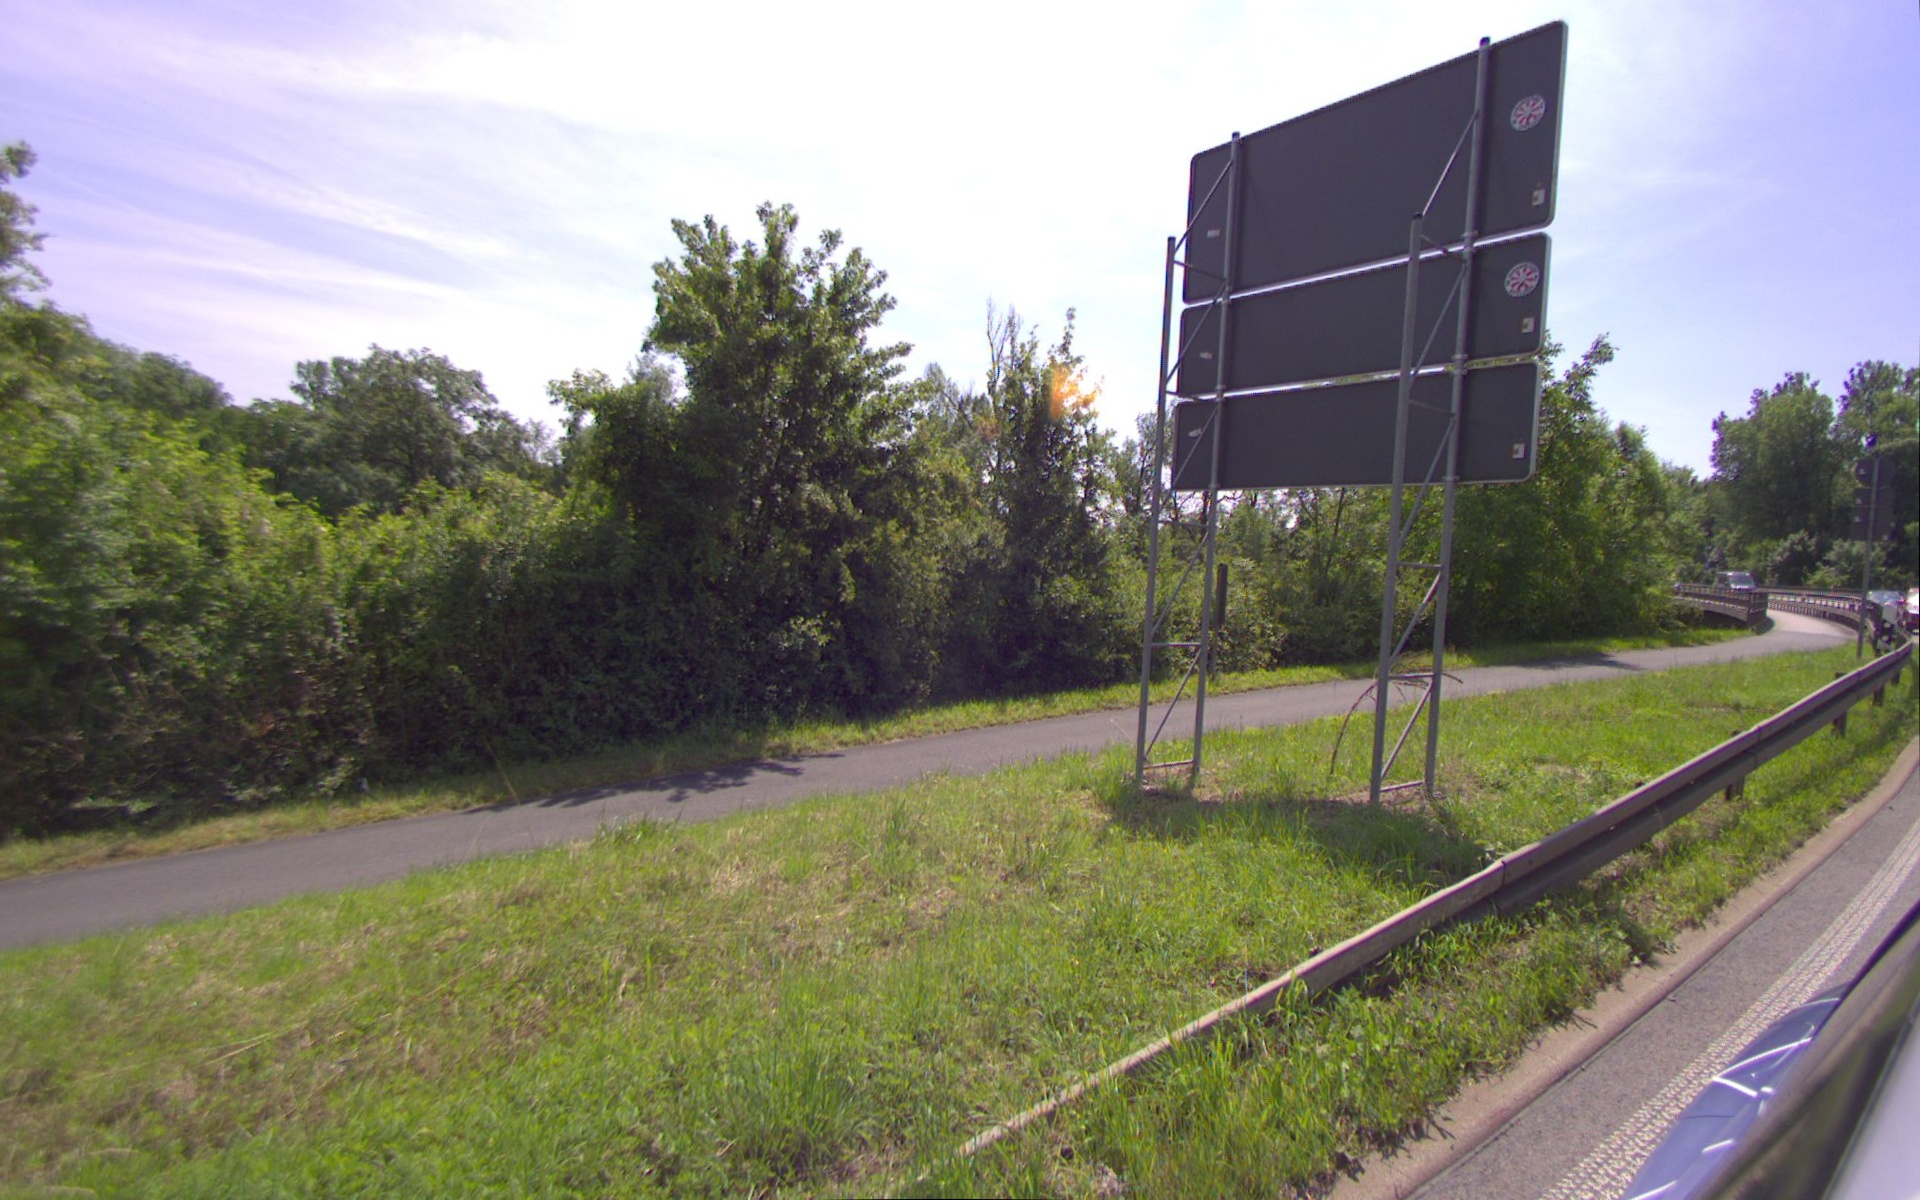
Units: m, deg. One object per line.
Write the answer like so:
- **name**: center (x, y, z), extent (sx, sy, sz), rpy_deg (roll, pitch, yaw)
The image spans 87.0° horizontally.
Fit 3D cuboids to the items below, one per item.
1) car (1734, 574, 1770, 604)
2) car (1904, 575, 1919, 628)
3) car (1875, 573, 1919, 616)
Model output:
- **car**: center (70.729, -1.001, 90.448), extent (1.985, 2.516, 4.805), rpy_deg (-1, 1, 32)
- **car**: center (34.921, 0.065, 35.721), extent (1.990, 1.797, 3.944), rpy_deg (2, 1, 39)
- **car**: center (47.727, -0.291, 50.843), extent (1.986, 2.039, 3.953), rpy_deg (-1, 1, 34)
